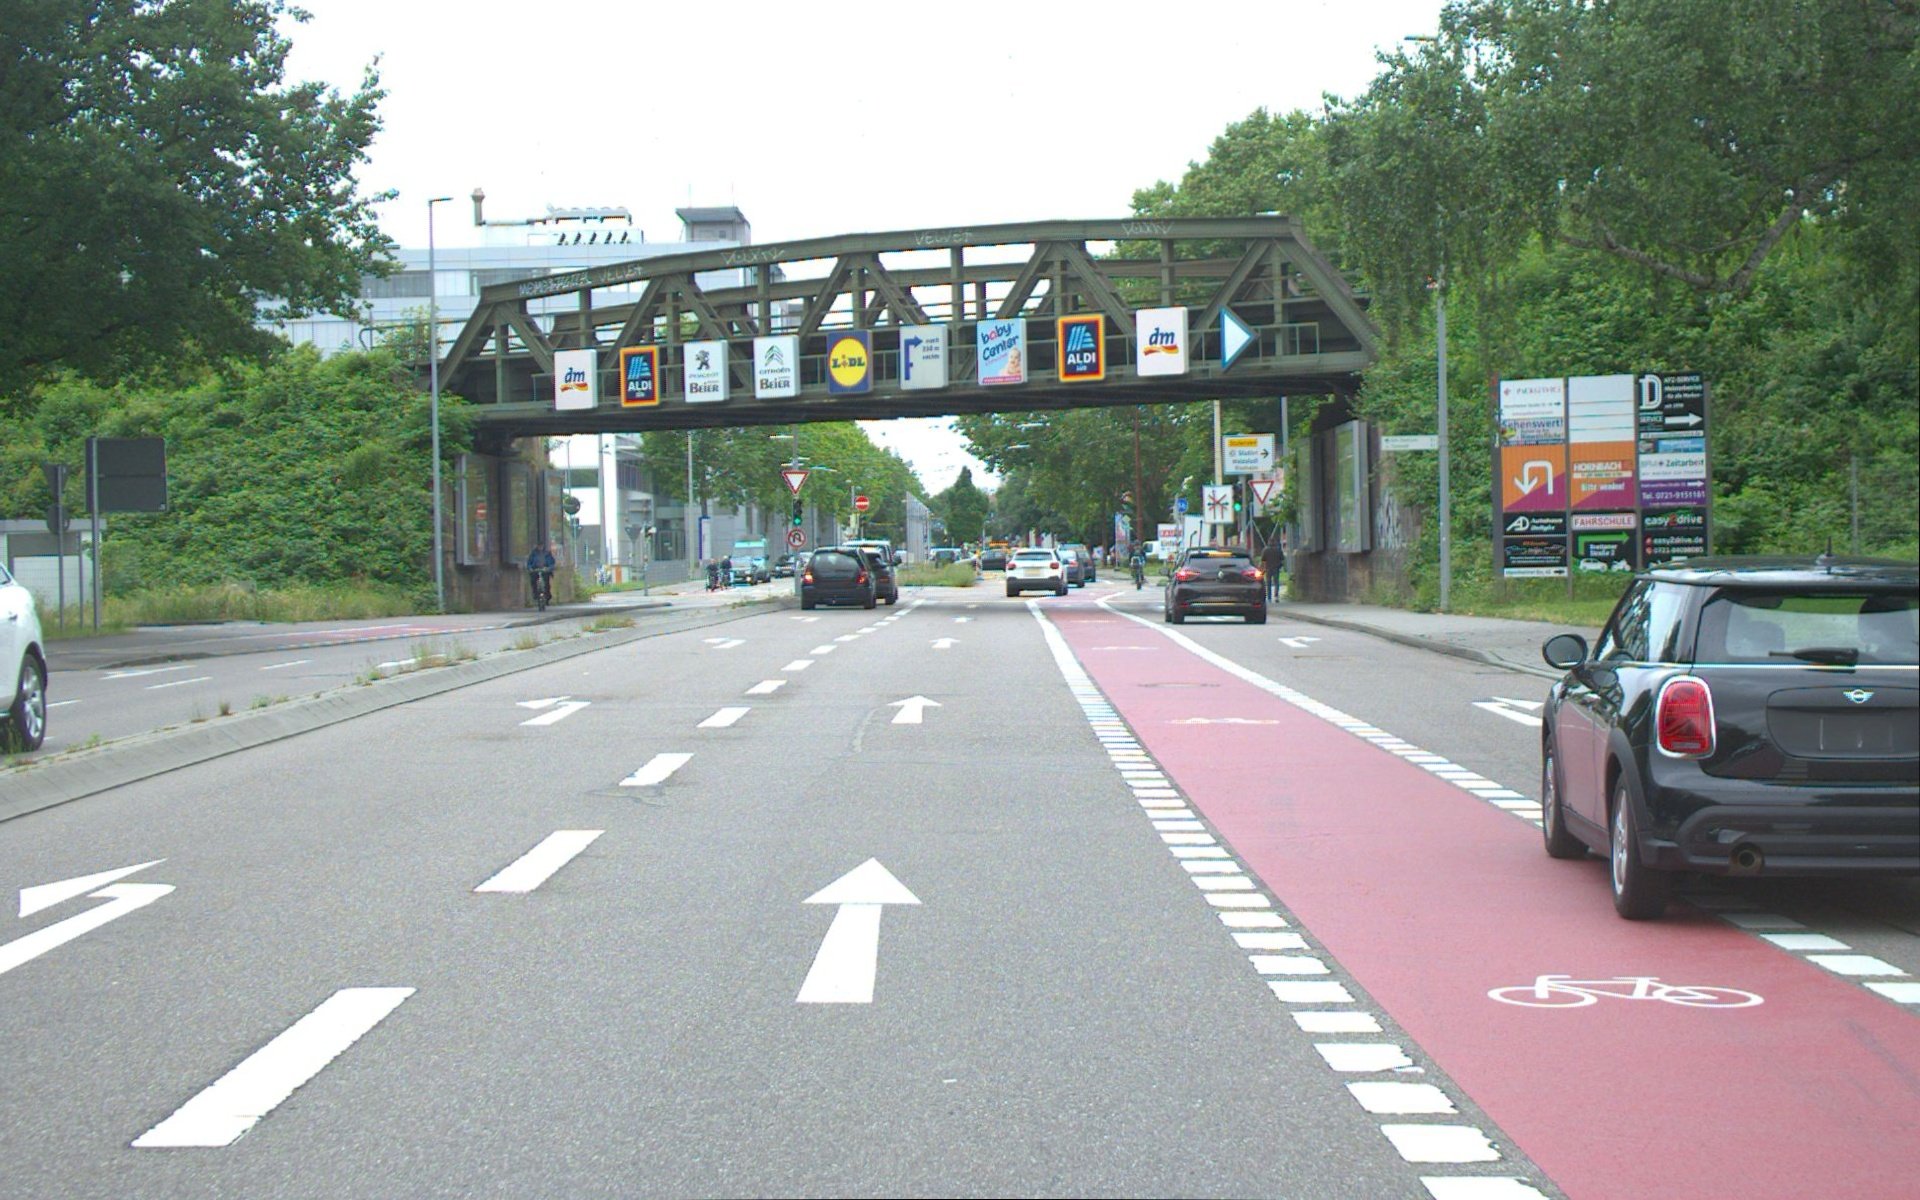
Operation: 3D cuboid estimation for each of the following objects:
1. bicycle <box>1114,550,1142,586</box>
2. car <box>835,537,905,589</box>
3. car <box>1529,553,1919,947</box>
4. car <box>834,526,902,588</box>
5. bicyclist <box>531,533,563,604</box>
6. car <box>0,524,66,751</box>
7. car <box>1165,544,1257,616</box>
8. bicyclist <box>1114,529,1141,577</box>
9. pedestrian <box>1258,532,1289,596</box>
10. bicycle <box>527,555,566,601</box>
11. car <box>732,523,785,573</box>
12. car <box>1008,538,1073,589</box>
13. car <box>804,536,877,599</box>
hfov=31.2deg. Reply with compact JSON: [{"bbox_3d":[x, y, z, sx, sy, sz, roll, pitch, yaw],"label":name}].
[{"bbox_3d":[5.810,-1.126,118.840,0.816,1.208,2.683,-2,1,0],"label":"bicycle"},{"bbox_3d":[-2.748,-1.152,104.039,1.962,1.522,5.011,0,1,-3],"label":"car"},{"bbox_3d":[3.451,0.529,14.590,1.679,1.426,3.773,0,1,4],"label":"car"},{"bbox_3d":[-2.527,-1.194,93.346,1.772,1.647,3.670,0,1,-3],"label":"car"},{"bbox_3d":[-10.951,-0.831,91.128,0.702,1.868,1.020,1,0,1],"label":"bicyclist"},{"bbox_3d":[-7.663,0.326,23.557,1.818,1.581,4.514,-3,1,0],"label":"car"},{"bbox_3d":[4.612,-0.382,63.517,1.647,1.276,3.419,0,1,3],"label":"car"},{"bbox_3d":[5.794,-1.613,118.900,0.816,1.624,1.235,-2,1,0],"label":"bicyclist"},{"bbox_3d":[8.115,-0.946,88.991,0.742,1.634,0.778,-1,1,8],"label":"pedestrian"},{"bbox_3d":[-10.957,-0.578,91.117,0.713,1.183,2.371,1,0,1],"label":"bicycle"},{"bbox_3d":[-11.670,-3.026,199.606,2.329,2.816,5.948,-1,1,4],"label":"car"},{"bbox_3d":[2.530,-1.173,108.903,1.823,1.595,3.776,0,1,-3],"label":"car"},{"bbox_3d":[-2.996,-0.832,85.515,1.768,1.522,3.670,0,1,-3],"label":"car"}]
